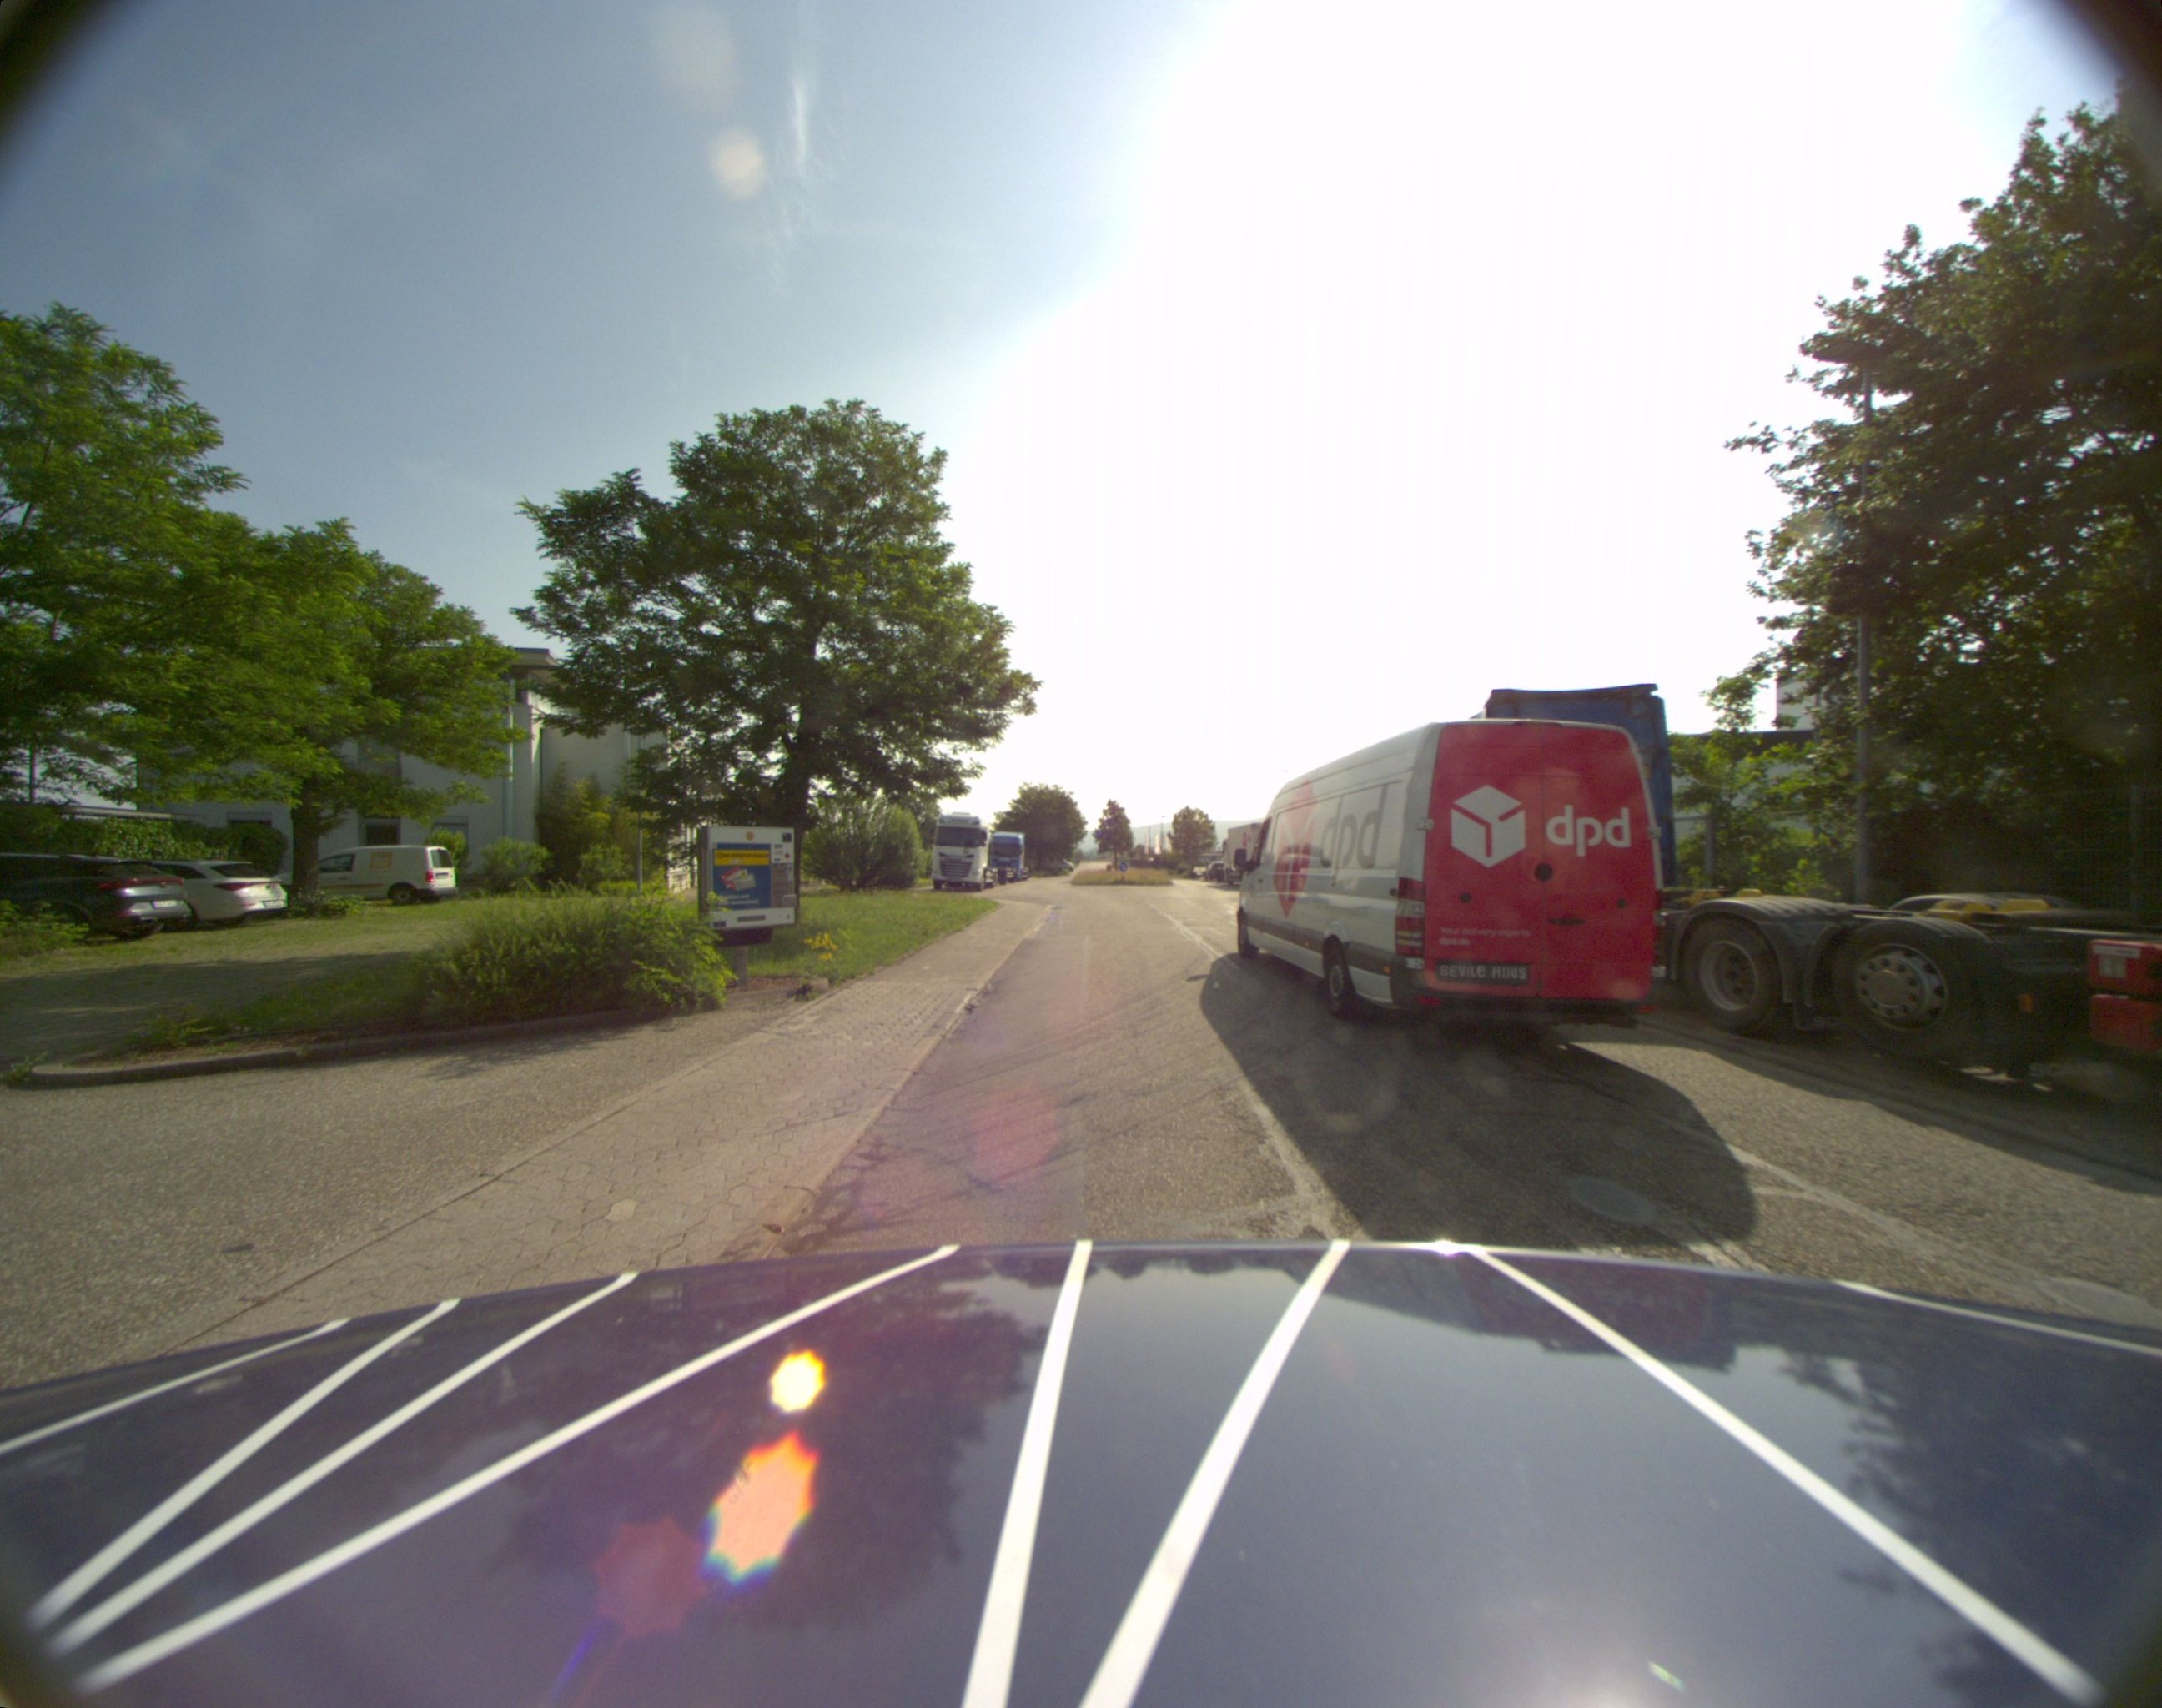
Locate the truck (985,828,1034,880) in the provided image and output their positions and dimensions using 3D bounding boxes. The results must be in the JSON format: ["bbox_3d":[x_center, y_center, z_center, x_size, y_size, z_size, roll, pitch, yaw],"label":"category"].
[{"bbox_3d":[-5.794,0.015,63.359,3.044,3.916,10.578,1,0,0],"label":"truck"}]

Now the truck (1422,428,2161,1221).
[{"bbox_3d":[6.817,-0.153,7.753,2.719,3.861,9.637,-1,0,3],"label":"truck"}]

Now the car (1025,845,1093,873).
[{"bbox_3d":[-2.713,0.572,92.431,8.151,3.217,2.663,-1,0,-4],"label":"car"}]

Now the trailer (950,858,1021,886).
[{"bbox_3d":[-5.858,1.033,49.158,2.553,1.383,14.136,-2,0,1],"label":"trailer"}]

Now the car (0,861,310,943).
[{"bbox_3d":[-18.496,0.887,15.121,4.045,1.397,1.739,-1,1,-19],"label":"car"}]

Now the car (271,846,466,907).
[{"bbox_3d":[-21.269,0.652,22.875,3.916,1.740,1.750,0,0,-18],"label":"car"}]

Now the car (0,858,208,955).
[{"bbox_3d":[-17.317,0.797,12.140,4.045,1.455,1.797,1,0,-19],"label":"car"}]

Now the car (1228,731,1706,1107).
[{"bbox_3d":[3.316,0.458,8.713,1.998,2.532,6.990,2,0,1],"label":"car"}]

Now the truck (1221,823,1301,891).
[{"bbox_3d":[11.412,0.208,49.292,2.783,3.831,10.063,-2,0,1],"label":"truck"}]

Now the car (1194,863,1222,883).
[{"bbox_3d":[10.825,1.586,64.838,1.735,1.573,3.967,-1,0,1],"label":"car"}]

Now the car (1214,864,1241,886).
[{"bbox_3d":[11.155,1.563,58.108,1.441,1.597,3.168,-1,0,1],"label":"car"}]

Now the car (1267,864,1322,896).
[{"bbox_3d":[11.424,1.339,40.915,1.767,1.582,4.193,-1,0,0],"label":"car"}]

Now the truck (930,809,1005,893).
[{"bbox_3d":[-5.959,-0.134,41.299,2.559,3.958,8.581,3,0,1],"label":"truck"}]
